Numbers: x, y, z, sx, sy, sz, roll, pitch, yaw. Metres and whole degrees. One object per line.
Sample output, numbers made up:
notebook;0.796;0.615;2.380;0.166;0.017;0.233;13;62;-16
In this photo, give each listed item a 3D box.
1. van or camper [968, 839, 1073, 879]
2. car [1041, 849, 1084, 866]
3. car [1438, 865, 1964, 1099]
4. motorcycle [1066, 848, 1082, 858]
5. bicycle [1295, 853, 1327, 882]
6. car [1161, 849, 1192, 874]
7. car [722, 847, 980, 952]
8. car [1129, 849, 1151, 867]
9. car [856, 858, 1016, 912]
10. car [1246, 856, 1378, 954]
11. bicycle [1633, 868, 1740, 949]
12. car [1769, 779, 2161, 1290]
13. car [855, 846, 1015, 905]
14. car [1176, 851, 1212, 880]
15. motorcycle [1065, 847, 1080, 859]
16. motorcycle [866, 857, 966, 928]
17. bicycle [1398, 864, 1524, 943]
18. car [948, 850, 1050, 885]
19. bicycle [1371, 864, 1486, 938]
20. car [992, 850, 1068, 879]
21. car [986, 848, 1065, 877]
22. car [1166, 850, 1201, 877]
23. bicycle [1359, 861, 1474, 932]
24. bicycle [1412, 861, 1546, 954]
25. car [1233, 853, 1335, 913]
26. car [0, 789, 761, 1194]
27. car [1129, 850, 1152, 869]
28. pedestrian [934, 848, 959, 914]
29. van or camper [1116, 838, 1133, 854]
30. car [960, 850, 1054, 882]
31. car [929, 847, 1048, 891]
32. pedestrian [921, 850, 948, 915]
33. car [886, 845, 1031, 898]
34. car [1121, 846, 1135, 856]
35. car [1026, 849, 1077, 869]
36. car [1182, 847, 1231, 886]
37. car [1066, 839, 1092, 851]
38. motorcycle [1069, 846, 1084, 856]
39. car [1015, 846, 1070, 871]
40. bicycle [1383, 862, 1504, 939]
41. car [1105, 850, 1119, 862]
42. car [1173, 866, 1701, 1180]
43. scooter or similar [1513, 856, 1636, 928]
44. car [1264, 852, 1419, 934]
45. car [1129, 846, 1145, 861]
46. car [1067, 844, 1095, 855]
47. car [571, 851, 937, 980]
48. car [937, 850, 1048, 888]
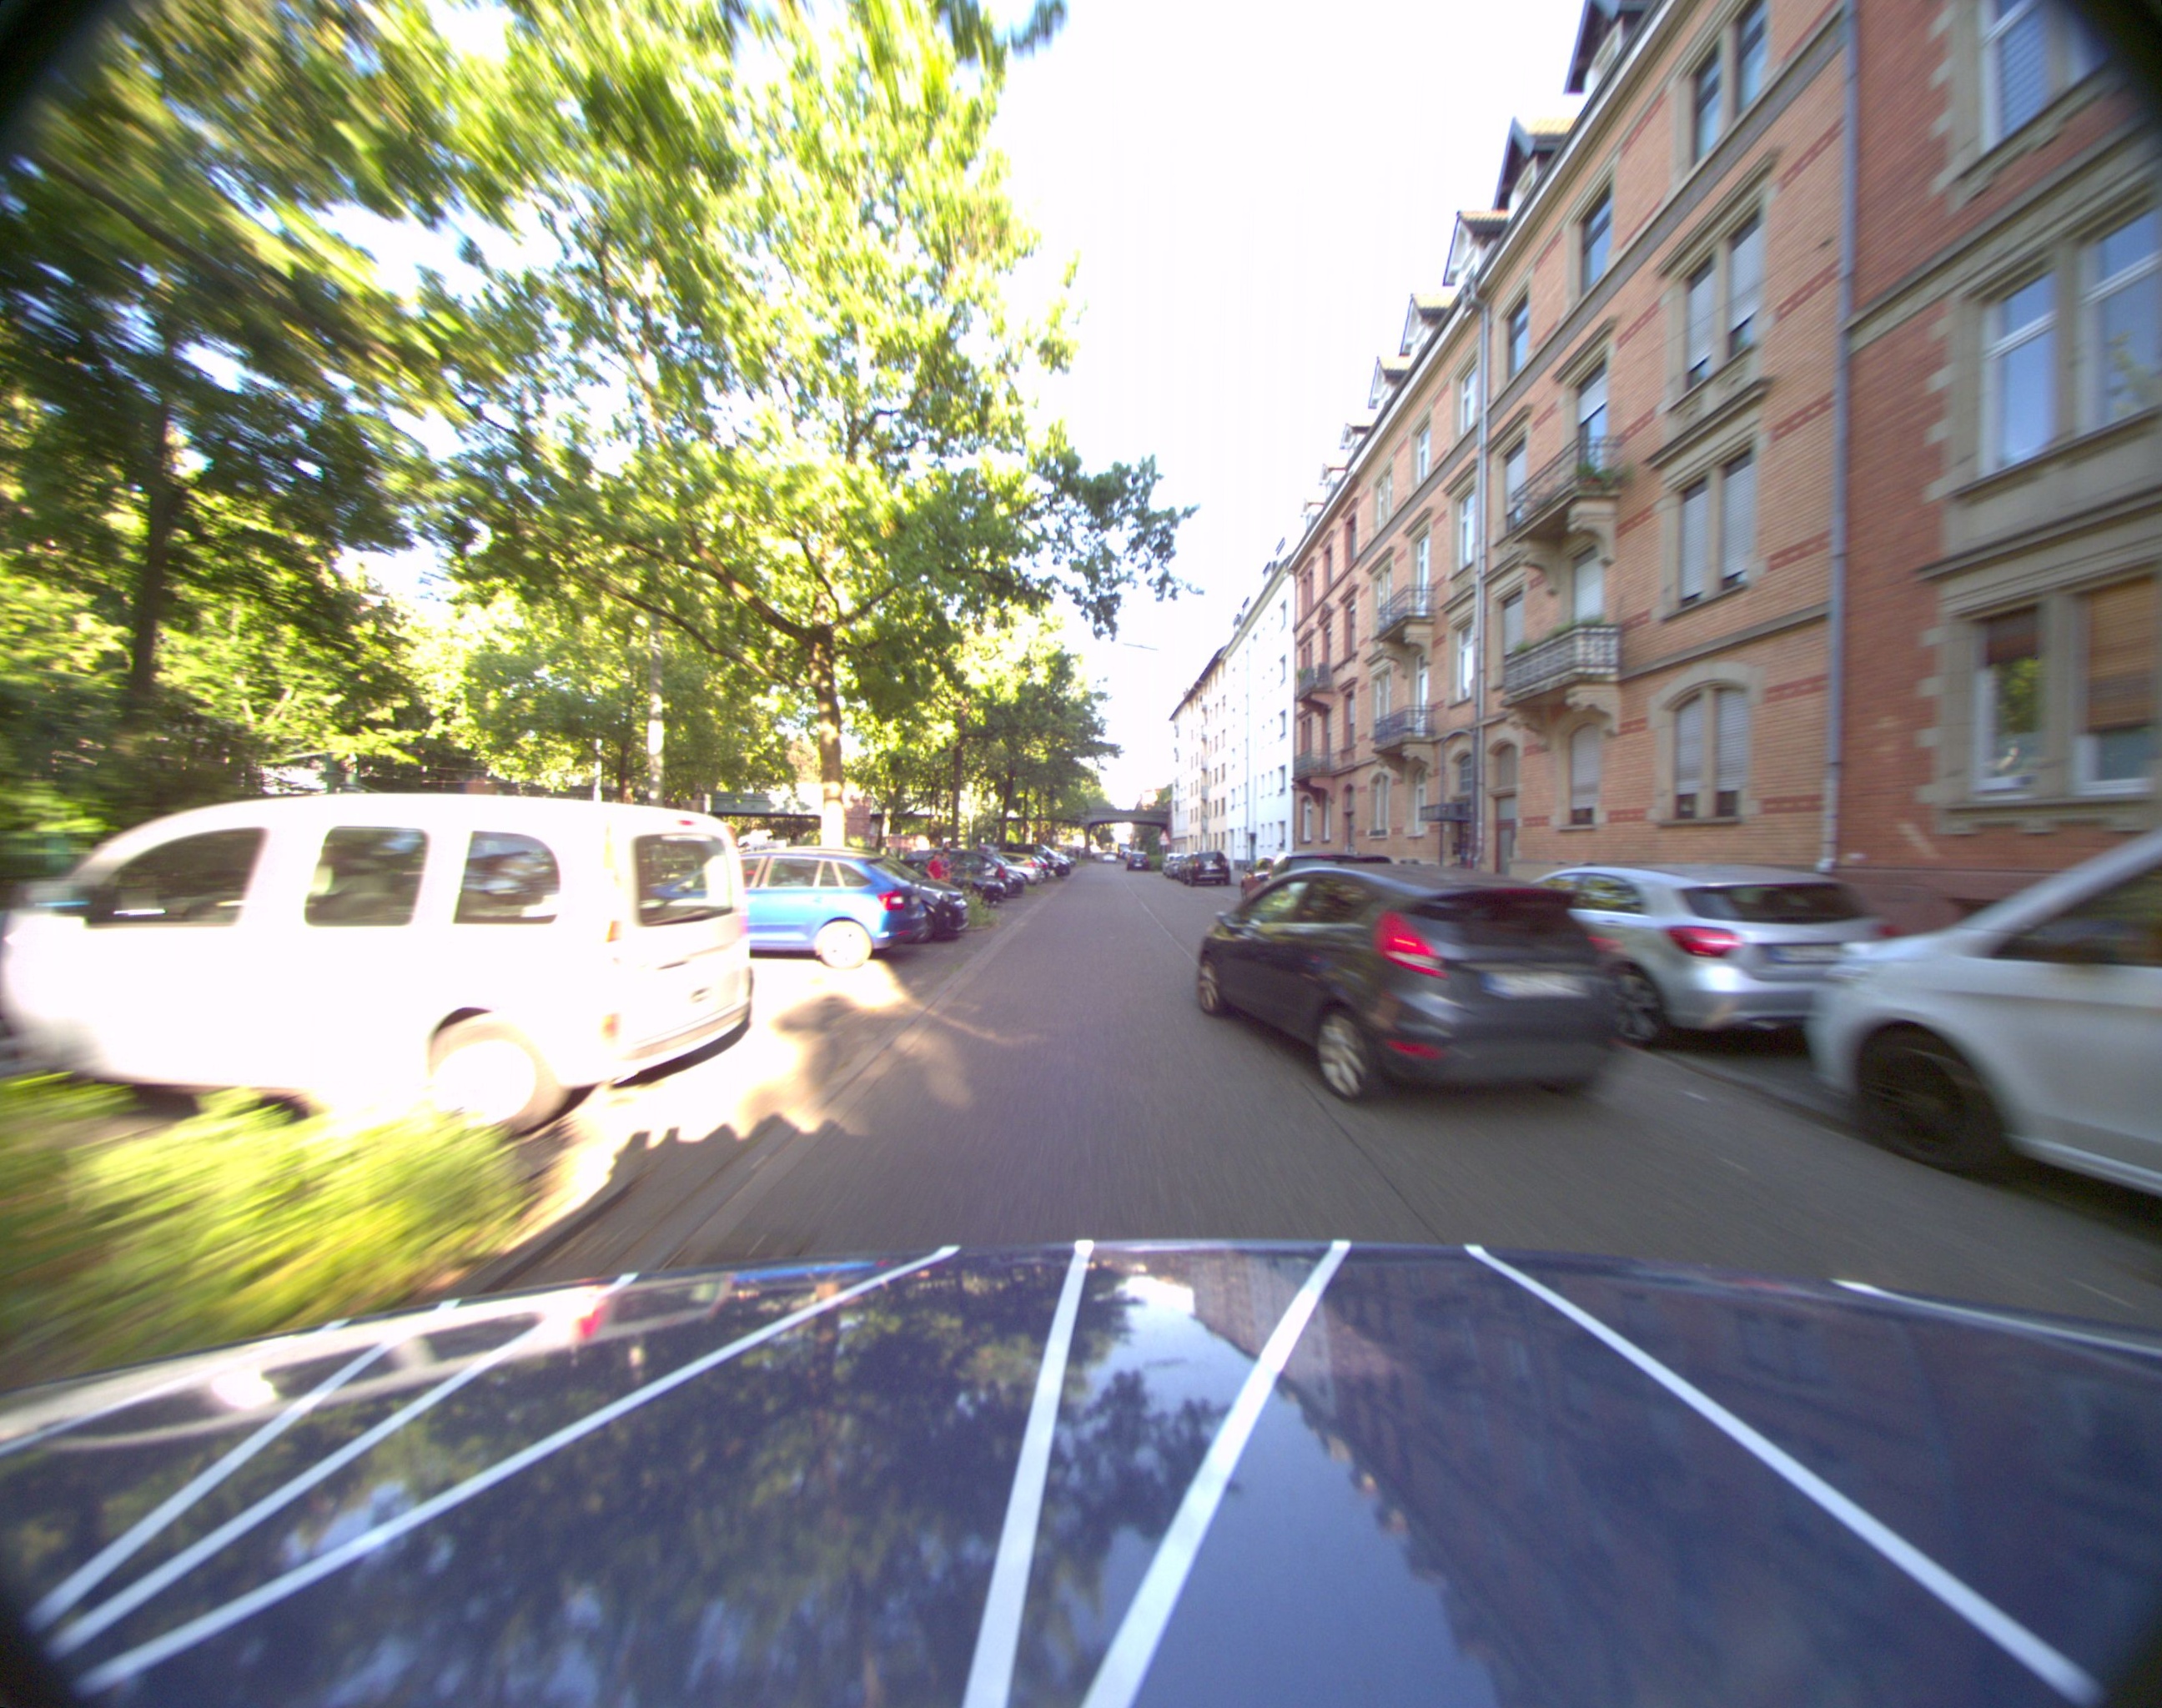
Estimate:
van or camper;-3.267;0.275;41.726;5.425;2.015;2.030;1;0;4
car;-1.709;0.316;69.994;3.791;1.394;1.827;1;2;3
car;5.209;0.904;7.293;1.678;1.446;4.210;2;1;2
motorcycle;-0.866;-0.130;98.623;1.839;1.126;0.849;-2;3;-22
bicycle;10.072;0.574;33.377;0.738;1.199;2.514;-1;0;3
car;6.436;0.464;51.481;1.672;1.499;4.000;-3;1;1
car;-3.699;0.696;12.636;3.683;1.493;1.762;2;1;3
car;5.219;0.312;67.186;1.707;1.516;3.773;1;1;1
car;-3.741;0.791;20.052;3.852;1.272;1.690;1;1;1
car;3.832;0.788;13.023;1.507;1.426;2.753;1;1;3
bicycle;9.714;0.833;12.277;0.427;1.124;1.769;-1;2;5
car;5.016;0.696;1.906;1.998;1.910;5.038;-1;2;0
car;-4.197;0.598;22.421;4.412;1.582;1.837;1;2;-3
car;6.183;0.610;41.821;1.619;1.443;4.001;-2;0;4
motorcycle;-1.039;-0.100;94.330;1.601;1.400;0.713;0;3;22
motorcycle;-3.609;0.826;16.784;1.865;1.454;1.263;-1;3;3
bicycle;6.018;0.778;12.075;1.767;1.208;0.428;-1;3;1
car;-3.736;0.602;34.988;4.409;1.432;1.838;1;1;4
bicycle;5.977;0.800;13.105;1.767;1.208;0.441;-1;3;1
car;-3.063;0.599;45.965;4.409;1.569;1.664;1;2;4
car;-3.177;0.482;43.969;4.411;1.492;1.837;1;2;-1
car;6.183;0.555;46.384;1.672;1.463;4.284;-3;1;2
bicycle;6.185;0.766;14.014;2.096;1.208;0.441;-1;3;-14
bicycle;6.025;0.798;11.551;1.767;1.340;0.495;-1;3;1
car;5.644;0.747;21.596;1.758;1.455;3.999;-2;1;0
car;-4.447;0.626;4.603;4.229;1.853;1.762;2;1;3
car;4.811;0.414;61.715;1.743;1.471;4.000;1;1;3
pedestrian;-3.250;0.652;18.371;0.380;1.575;0.520;0;-1;21
van or camper;7.293;-1.380;128.450;2.242;2.509;6.417;-1;2;-2
car;-3.596;0.583;37.384;4.410;1.432;1.837;1;1;1
car;-3.551;0.562;29.782;4.410;1.582;1.837;1;2;1
pedestrian;-3.446;0.665;17.874;0.380;1.508;0.520;0;-1;21
car;-3.965;0.538;25.015;4.409;1.582;1.837;1;2;2
car;7.512;-0.524;122.069;1.749;1.458;4.373;-1;2;-2
car;-2.280;0.403;60.013;3.789;1.439;1.664;1;2;7
car;5.925;0.543;36.293;1.756;1.696;4.200;-1;1;1
car;-0.344;-1.623;140.368;4.683;1.914;1.871;2;3;0
motorcycle;-0.596;-0.389;104.350;1.938;1.231;0.902;-2;3;-23
car;-2.728;0.325;54.809;3.791;1.637;1.664;1;2;2
bicycle;5.980;0.759;12.587;1.767;1.208;0.464;-1;3;1
car;3.892;0.287;96.416;1.672;1.422;4.001;3;0;2
car;2.123;0.892;5.893;1.674;1.455;3.996;1;1;-10
scooter or similar;9.857;0.705;15.351;0.785;1.215;2.703;-1;2;2
car;5.624;0.758;16.983;1.752;1.537;4.149;-1;1;-4
car;7.094;-0.095;96.769;1.721;1.698;4.321;1;1;0
car;-0.028;-0.789;123.110;4.544;1.686;1.907;-1;2;0
car;-4.156;0.754;10.153;4.092;1.434;1.761;2;1;-1
car;-3.740;0.624;32.548;4.409;1.432;1.838;1;1;4
